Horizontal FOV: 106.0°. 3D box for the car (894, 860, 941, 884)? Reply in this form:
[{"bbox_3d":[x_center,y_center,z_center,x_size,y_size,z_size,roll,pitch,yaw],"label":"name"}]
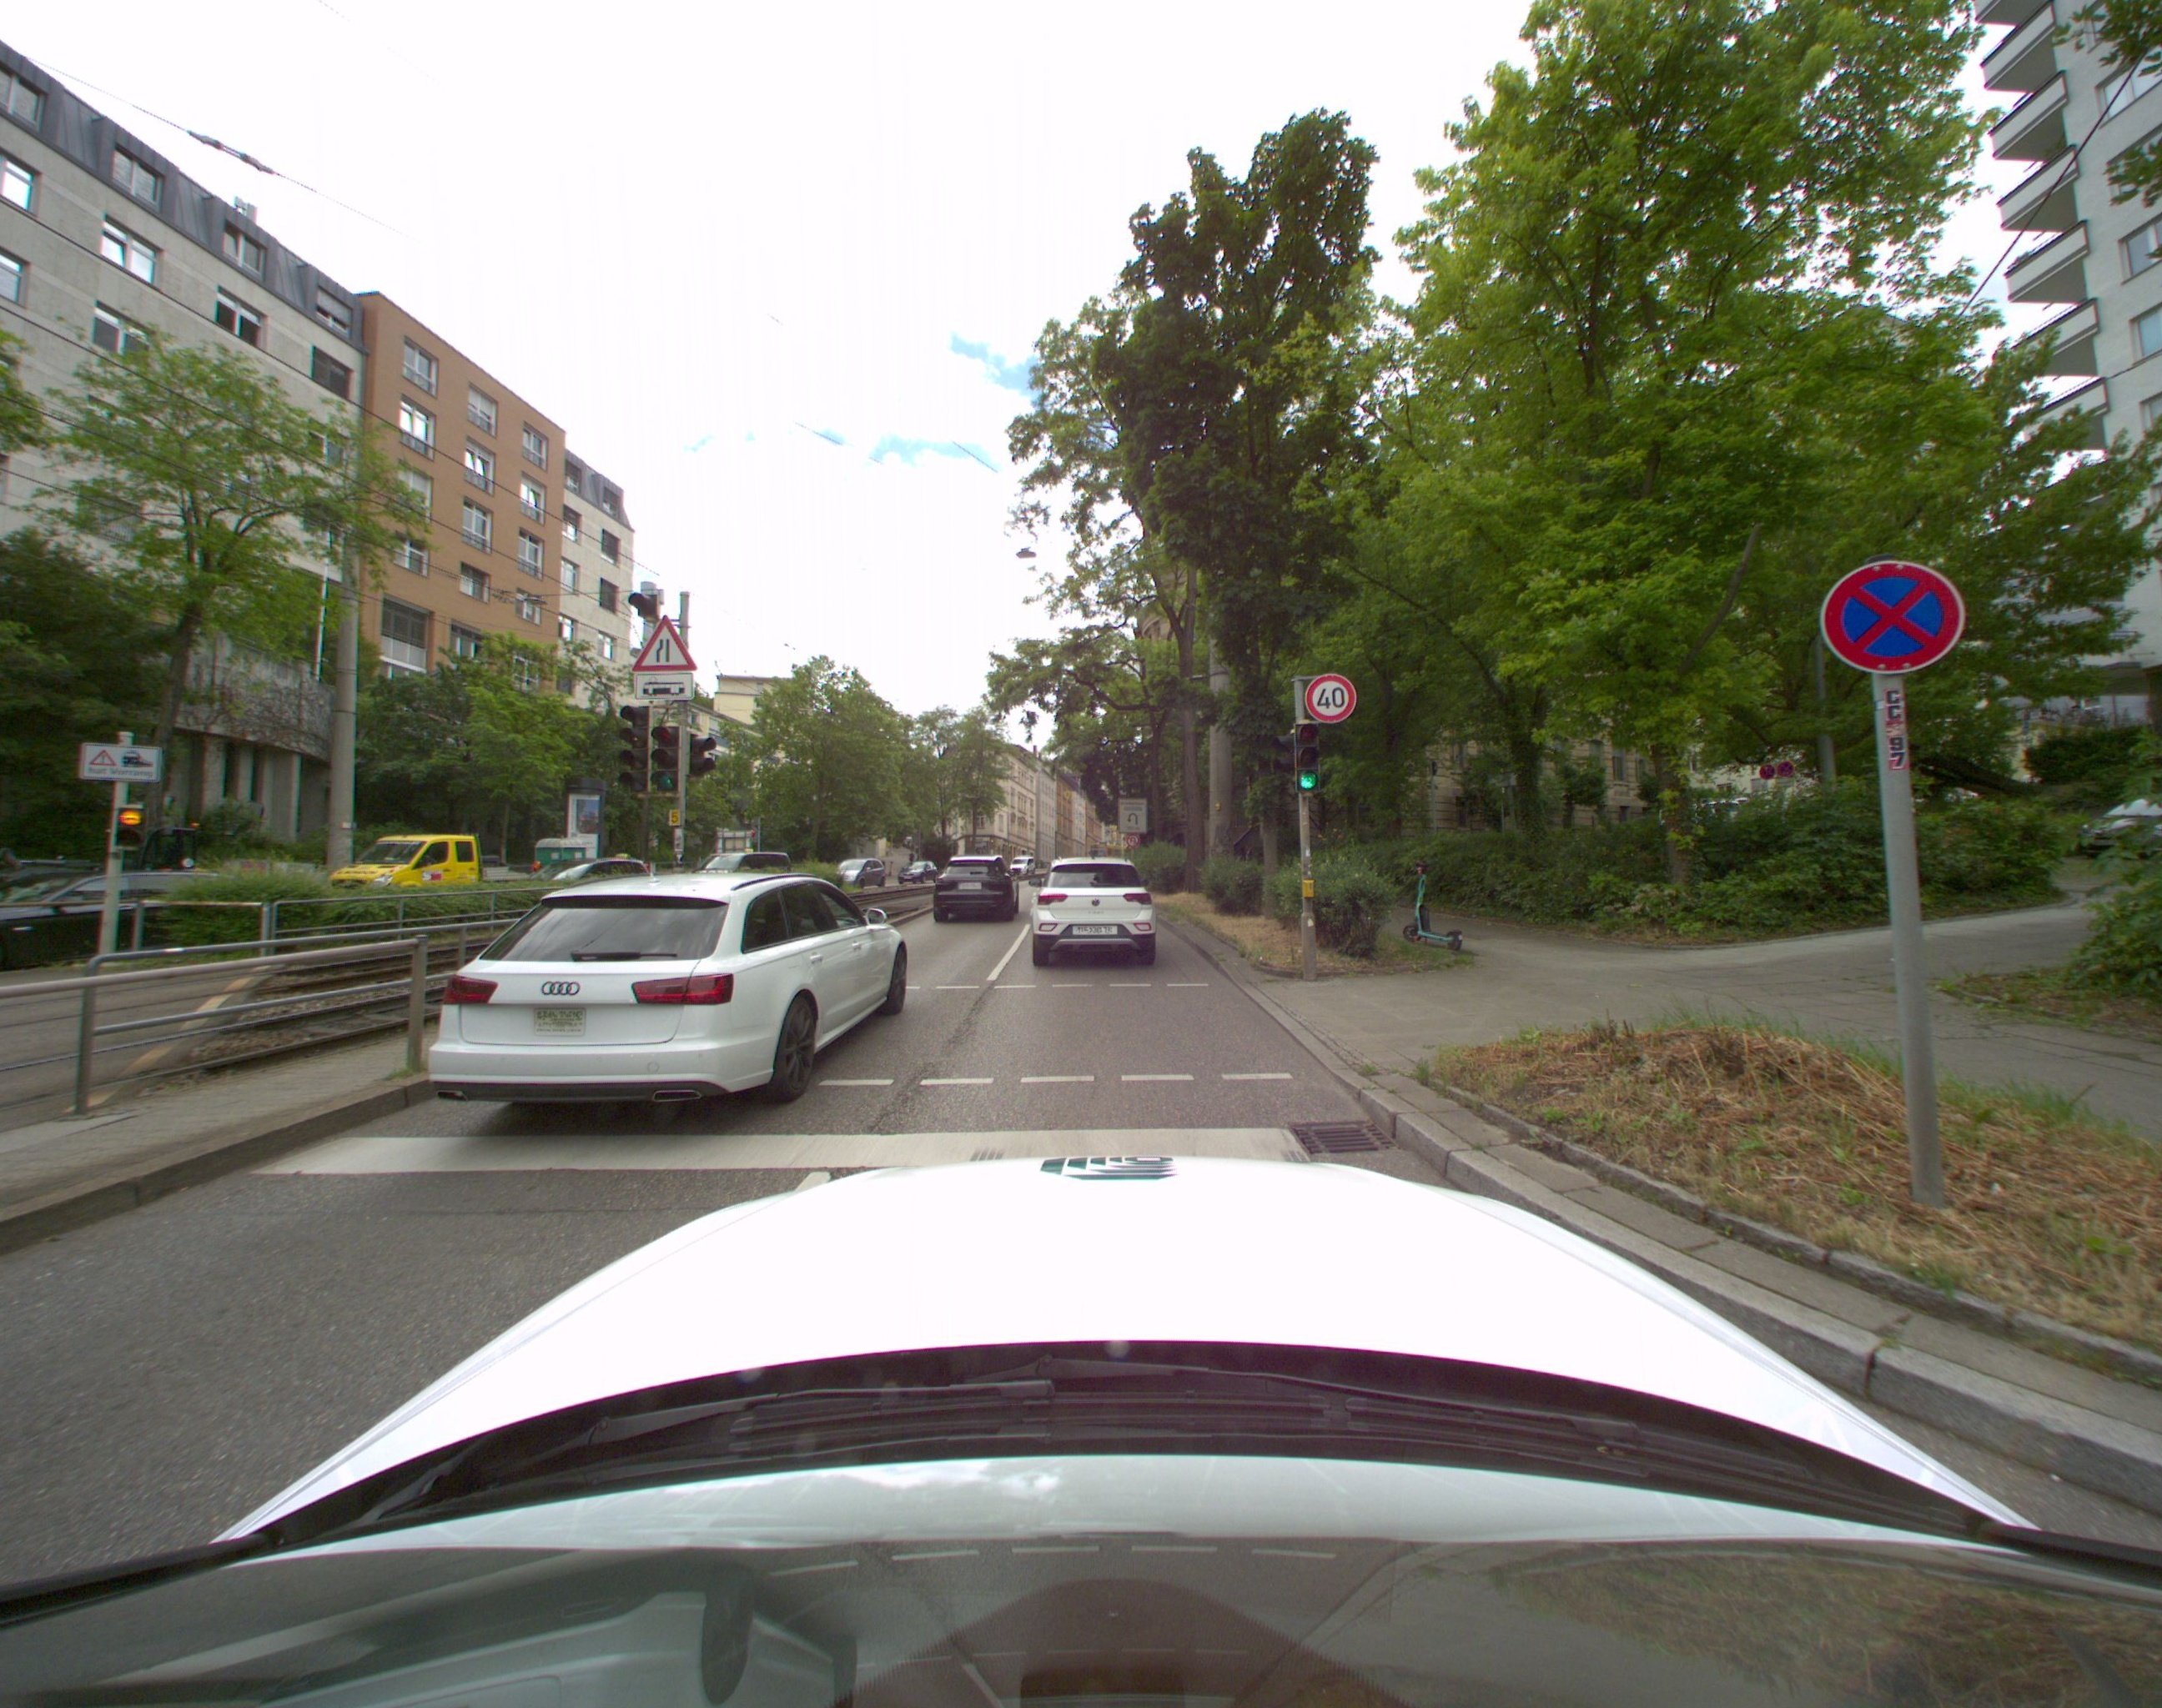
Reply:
[{"bbox_3d":[-10.522,1.140,52.714,1.757,1.408,4.090,-2,0,6],"label":"car"}]

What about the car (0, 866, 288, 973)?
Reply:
[{"bbox_3d":[-15.535,0.964,12.384,1.872,1.435,4.852,-3,-1,6],"label":"car"}]

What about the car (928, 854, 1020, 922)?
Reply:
[{"bbox_3d":[-2.699,0.828,21.566,2.033,1.571,4.353,-1,0,-3],"label":"car"}]

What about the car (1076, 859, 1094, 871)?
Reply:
[{"bbox_3d":[0.611,1.589,117.263,1.983,1.552,4.008,-2,-1,7],"label":"car"}]

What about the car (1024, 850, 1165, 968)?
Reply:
[{"bbox_3d":[0.113,0.759,12.996,1.874,1.554,3.996,-1,0,-2],"label":"car"}]

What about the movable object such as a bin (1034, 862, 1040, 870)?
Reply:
[{"bbox_3d":[-6.179,1.675,115.093,0.683,1.074,0.678,-1,-1,9],"label":"movable object such as a bin"}]

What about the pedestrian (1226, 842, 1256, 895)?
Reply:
[{"bbox_3d":[5.251,0.474,26.744,0.769,1.703,0.784,-1,-1,-3],"label":"pedestrian"}]

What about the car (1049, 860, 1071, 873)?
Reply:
[{"bbox_3d":[-2.564,1.495,99.559,1.983,1.552,4.008,-2,-1,7],"label":"car"}]

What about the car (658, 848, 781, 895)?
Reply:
[{"bbox_3d":[-13.395,0.614,30.566,1.982,1.605,4.621,-2,0,9],"label":"car"}]

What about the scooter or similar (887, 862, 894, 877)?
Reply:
[{"bbox_3d":[-16.425,1.327,70.255,0.489,1.219,1.635,2,-1,-11],"label":"scooter or similar"}]

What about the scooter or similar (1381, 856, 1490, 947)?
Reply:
[{"bbox_3d":[5.081,0.650,11.781,0.630,1.210,1.551,-1,-1,-12],"label":"scooter or similar"}]

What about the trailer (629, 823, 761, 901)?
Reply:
[{"bbox_3d":[-15.902,0.309,33.997,2.006,2.973,5.606,0,0,11],"label":"trailer"}]

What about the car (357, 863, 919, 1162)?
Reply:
[{"bbox_3d":[-2.700,0.822,6.430,1.873,1.455,4.617,-1,0,0],"label":"car"}]

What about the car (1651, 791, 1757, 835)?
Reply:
[{"bbox_3d":[34.247,-2.246,44.748,5.222,1.933,2.162,-4,-2,-22],"label":"car"}]

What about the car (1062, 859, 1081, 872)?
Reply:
[{"bbox_3d":[-1.238,1.530,107.947,1.983,1.552,4.008,-2,-1,7],"label":"car"}]

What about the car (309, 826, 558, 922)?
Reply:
[{"bbox_3d":[-19.866,0.564,25.561,2.145,2.594,6.349,-2,0,7],"label":"car"}]

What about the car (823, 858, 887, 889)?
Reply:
[{"bbox_3d":[-11.476,0.960,41.615,1.649,1.443,3.750,-2,0,10],"label":"car"}]

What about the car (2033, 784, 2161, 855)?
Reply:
[{"bbox_3d":[26.340,-0.903,19.906,3.975,1.571,1.832,-4,0,-1],"label":"car"}]

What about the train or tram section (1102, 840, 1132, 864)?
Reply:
[{"bbox_3d":[6.159,-0.211,134.615,2.859,3.726,18.748,0,0,9],"label":"train or tram section"}]

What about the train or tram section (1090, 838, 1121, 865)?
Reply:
[{"bbox_3d":[3.653,-0.293,117.988,2.866,3.726,14.889,0,0,8],"label":"train or tram section"}]

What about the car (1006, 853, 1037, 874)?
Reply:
[{"bbox_3d":[-5.754,0.907,79.744,1.936,1.946,5.015,-1,0,9],"label":"car"}]

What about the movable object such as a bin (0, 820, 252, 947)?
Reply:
[{"bbox_3d":[-21.474,0.557,17.968,1.923,2.467,4.106,1,0,7],"label":"movable object such as a bin"}]

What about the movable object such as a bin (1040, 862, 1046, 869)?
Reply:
[{"bbox_3d":[-5.538,1.702,119.295,0.723,1.074,0.673,-1,-1,9],"label":"movable object such as a bin"}]

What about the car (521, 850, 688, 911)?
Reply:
[{"bbox_3d":[-14.025,0.736,24.366,1.984,1.605,4.626,-2,0,5],"label":"car"}]
